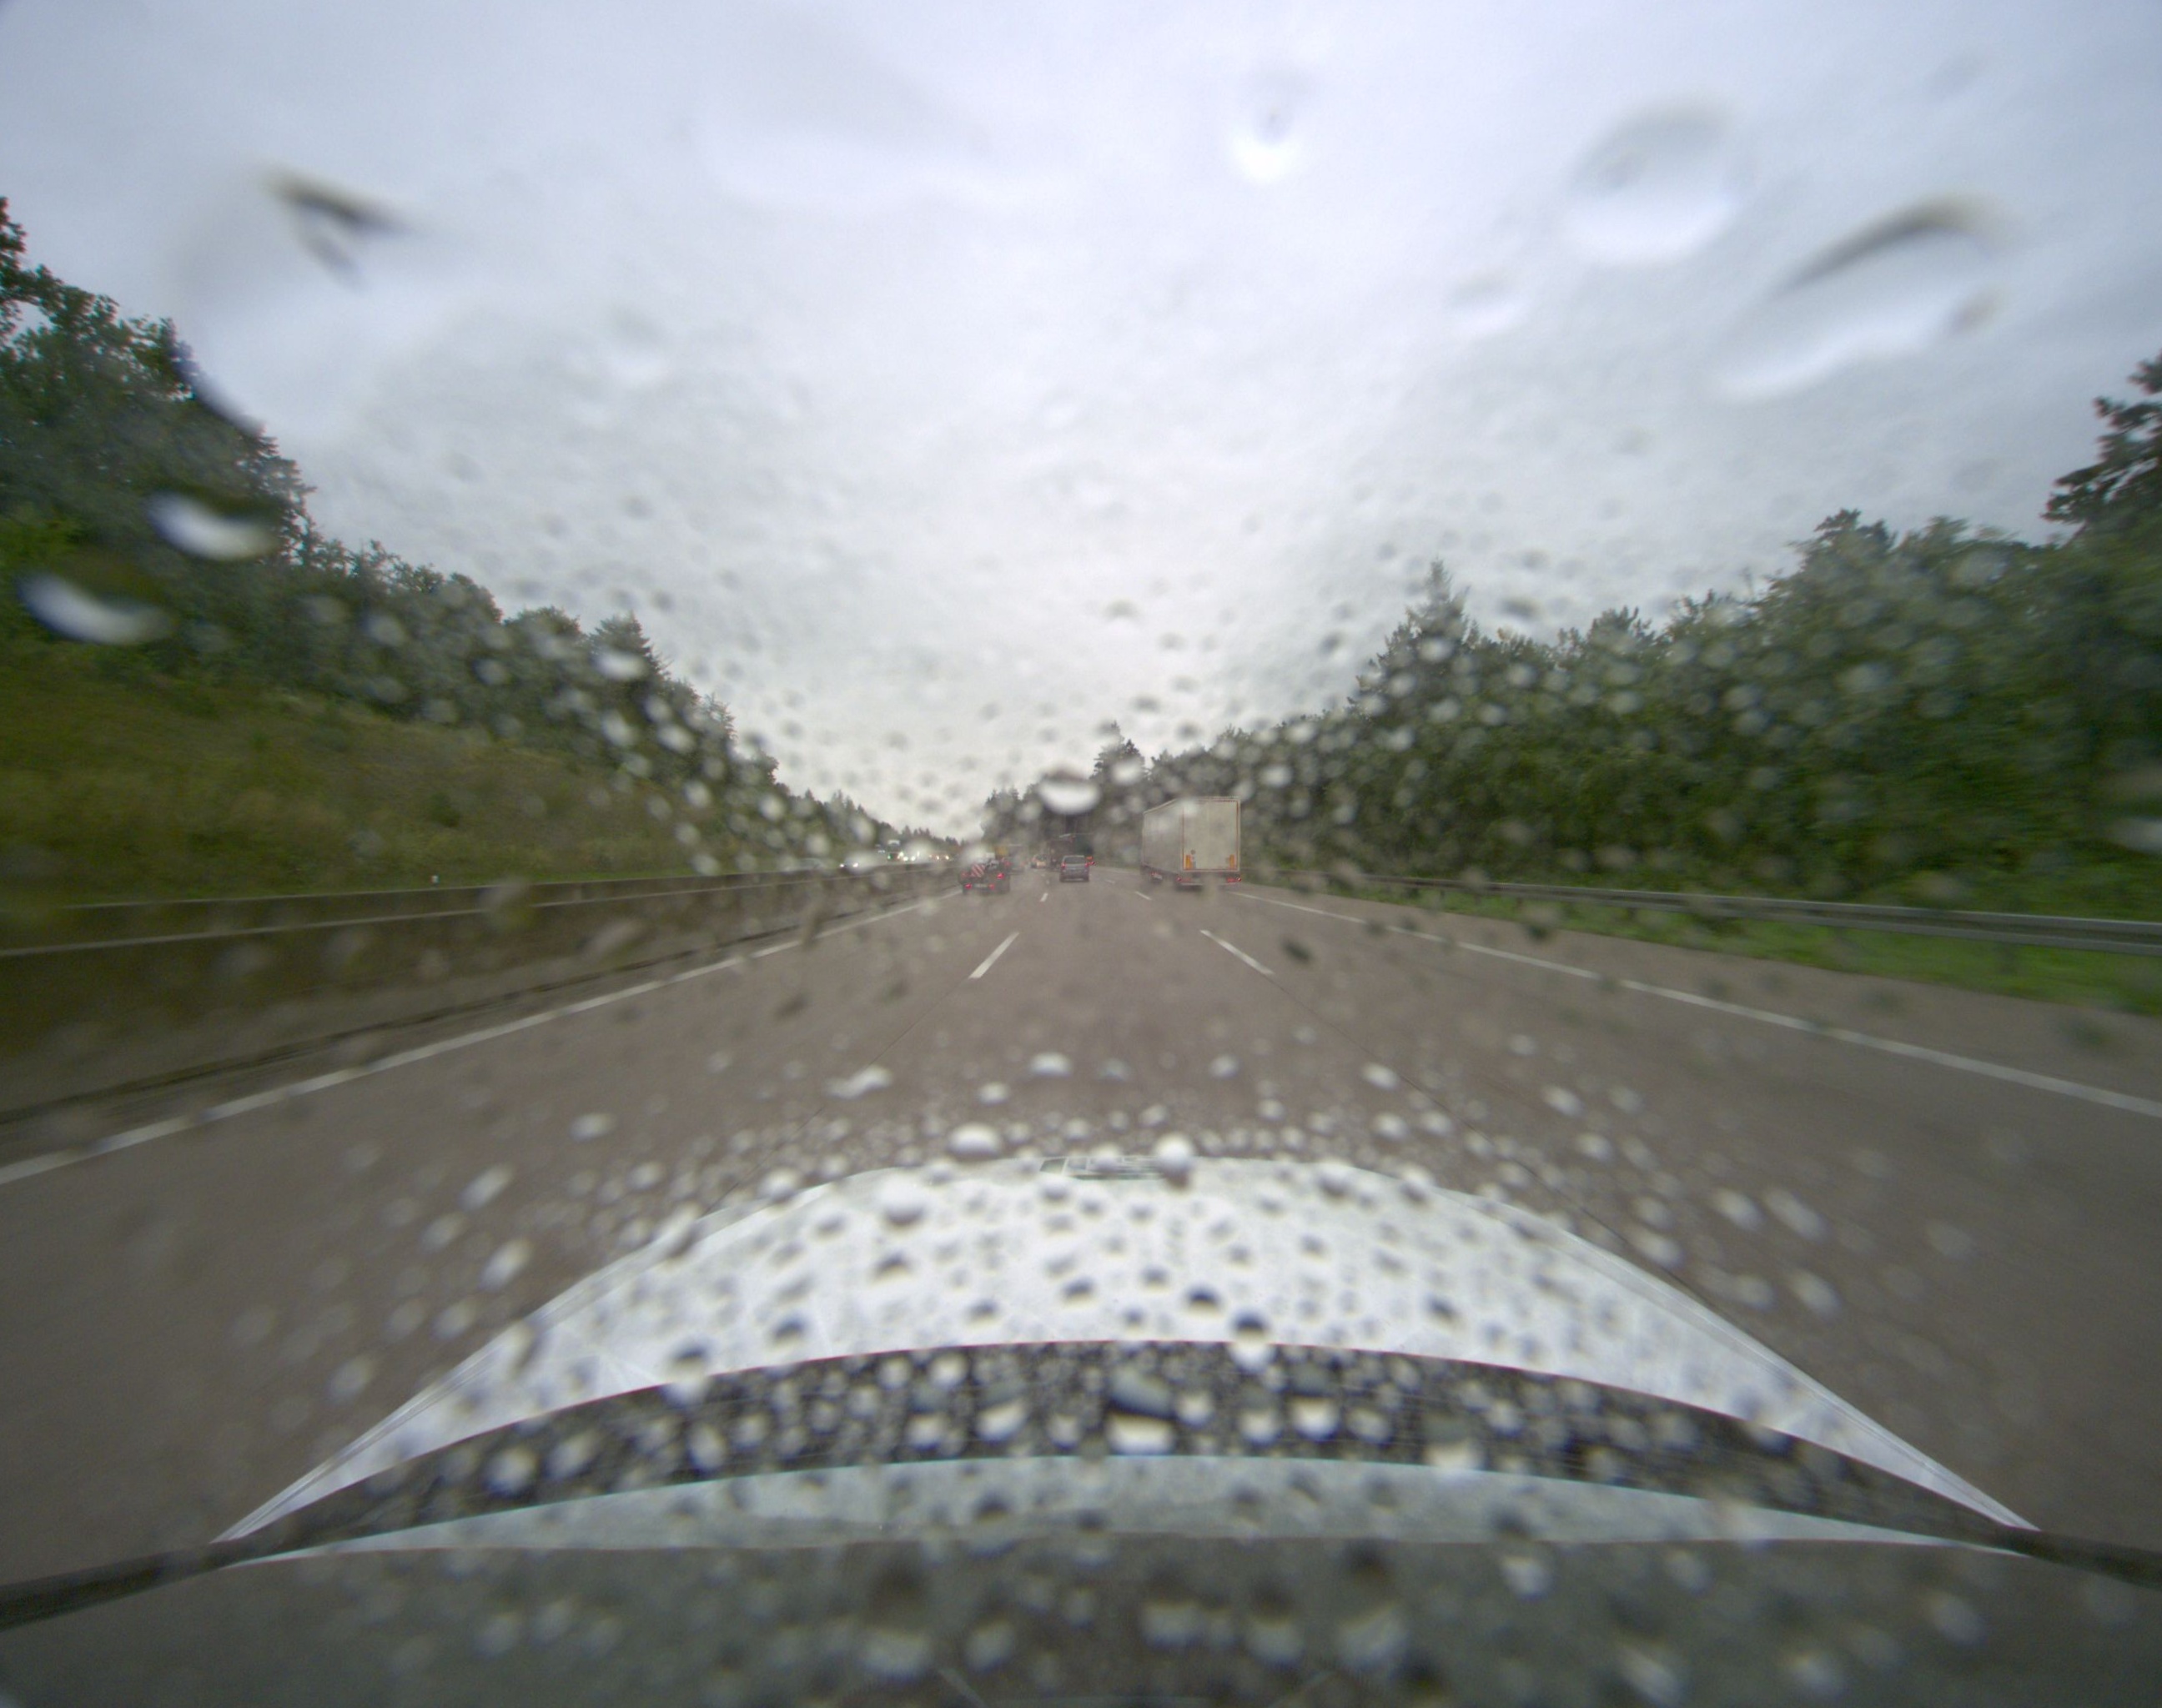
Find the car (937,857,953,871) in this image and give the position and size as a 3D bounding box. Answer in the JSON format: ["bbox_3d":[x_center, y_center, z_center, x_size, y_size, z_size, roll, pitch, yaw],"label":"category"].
[{"bbox_3d":[-22.032,1.609,131.863,1.990,2.082,5.323,-1,0,-4],"label":"car"}]

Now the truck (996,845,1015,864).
[{"bbox_3d":[-17.601,0.103,189.557,3.740,4.210,6.794,-1,-1,-10],"label":"truck"}]

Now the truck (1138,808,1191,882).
[{"bbox_3d":[4.817,-0.487,47.690,2.413,4.068,4.974,-1,0,-2],"label":"truck"}]

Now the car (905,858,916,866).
[{"bbox_3d":[-31.021,1.447,148.062,1.620,1.393,3.990,-1,0,-7],"label":"car"}]

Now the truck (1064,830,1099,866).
[{"bbox_3d":[-0.042,-0.704,98.719,3.363,4.131,10.420,-1,0,-4],"label":"truck"}]

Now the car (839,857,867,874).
[{"bbox_3d":[-23.198,1.126,83.060,1.772,1.638,4.251,-1,0,-2],"label":"car"}]

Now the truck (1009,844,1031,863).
[{"bbox_3d":[-10.126,-0.159,134.037,3.081,2.905,7.879,-1,1,-9],"label":"truck"}]

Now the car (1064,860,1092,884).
[{"bbox_3d":[-0.152,1.065,49.932,1.547,1.351,3.686,1,0,3],"label":"car"}]

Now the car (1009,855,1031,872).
[{"bbox_3d":[-5.304,0.801,70.896,1.679,1.462,3.682,1,0,-1],"label":"car"}]

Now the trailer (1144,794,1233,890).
[{"bbox_3d":[5.062,-0.501,40.903,2.414,4.068,12.044,-1,0,-2],"label":"trailer"}]

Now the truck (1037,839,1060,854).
[{"bbox_3d":[-5.330,-1.132,132.297,2.973,2.309,6.647,1,0,-9],"label":"truck"}]

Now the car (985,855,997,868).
[{"bbox_3d":[-15.444,1.285,138.983,1.726,2.014,3.643,-1,-1,-11],"label":"car"}]

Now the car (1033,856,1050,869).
[{"bbox_3d":[-4.722,0.944,97.241,1.876,1.473,3.998,1,0,-1],"label":"car"}]

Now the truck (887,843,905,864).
[{"bbox_3d":[-37.922,-0.067,166.878,2.743,4.284,8.293,-1,0,-7],"label":"truck"}]

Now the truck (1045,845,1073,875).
[{"bbox_3d":[-2.304,0.511,82.433,2.266,2.886,7.889,-1,1,-5],"label":"truck"}]
